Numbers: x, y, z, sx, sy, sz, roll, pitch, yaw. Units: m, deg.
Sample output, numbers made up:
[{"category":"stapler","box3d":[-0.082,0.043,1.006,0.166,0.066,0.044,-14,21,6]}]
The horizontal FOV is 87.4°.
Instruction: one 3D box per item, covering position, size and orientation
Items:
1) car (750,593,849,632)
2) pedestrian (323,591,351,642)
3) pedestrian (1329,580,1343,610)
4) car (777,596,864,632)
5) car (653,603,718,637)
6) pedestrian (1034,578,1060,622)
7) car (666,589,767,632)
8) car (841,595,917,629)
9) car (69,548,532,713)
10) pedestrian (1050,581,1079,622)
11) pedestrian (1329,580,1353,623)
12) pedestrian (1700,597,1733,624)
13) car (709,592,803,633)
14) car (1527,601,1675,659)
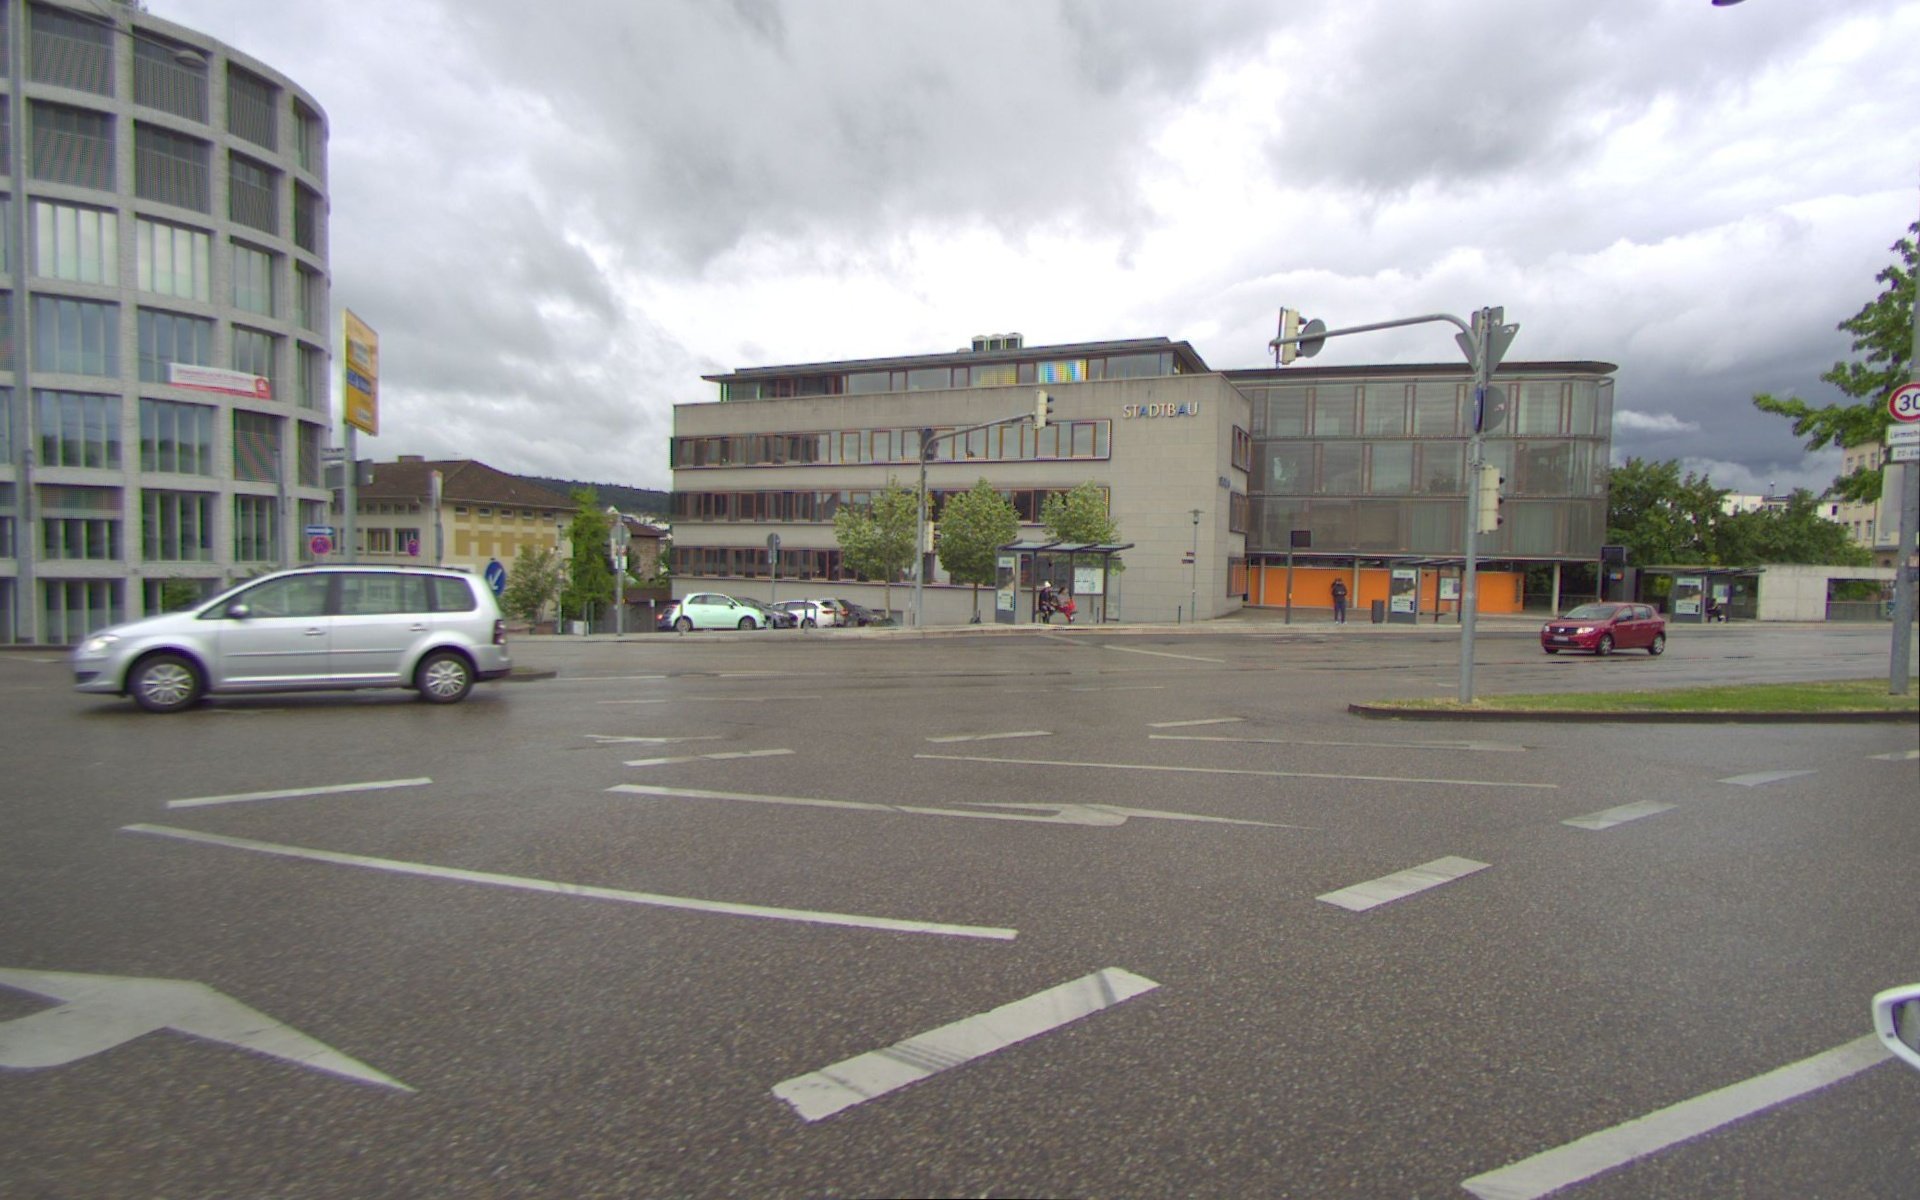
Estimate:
[{"category":"car","box3d":[-6.774,0.513,42.534,3.711,1.515,1.766,1,1,12]},{"category":"pedestrian","box3d":[-20.097,0.537,32.411,0.696,1.604,0.668,1,1,-29]},{"category":"pedestrian","box3d":[22.149,-0.292,59.156,0.630,1.706,0.476,1,1,5]},{"category":"car","box3d":[-6.273,0.623,45.250,3.509,1.515,1.634,1,1,12]},{"category":"car","box3d":[-12.229,0.879,44.964,1.453,1.369,3.584,2,1,8]},{"category":"pedestrian","box3d":[2.982,0.011,34.456,0.618,1.488,0.675,1,1,-28]},{"category":"car","box3d":[-8.981,0.371,37.283,3.519,1.515,1.629,1,1,-11]},{"category":"car","box3d":[-3.899,0.563,48.232,3.516,1.516,1.630,1,1,-8]},{"category":"car","box3d":[-7.670,0.317,12.156,4.369,1.675,1.837,1,1,-32]},{"category":"pedestrian","box3d":[3.608,0.059,34.792,0.712,1.411,0.675,1,1,-28]},{"category":"pedestrian","box3d":[15.141,0.055,39.957,0.751,1.706,0.473,0,1,-20]},{"category":"pedestrian","box3d":[38.496,0.537,51.109,0.833,1.285,0.977,1,5,-5]},{"category":"car","box3d":[-7.947,0.487,39.343,3.519,1.515,1.629,1,1,-11]},{"category":"car","box3d":[18.816,0.850,29.485,3.978,1.573,1.817,1,1,-25]}]
